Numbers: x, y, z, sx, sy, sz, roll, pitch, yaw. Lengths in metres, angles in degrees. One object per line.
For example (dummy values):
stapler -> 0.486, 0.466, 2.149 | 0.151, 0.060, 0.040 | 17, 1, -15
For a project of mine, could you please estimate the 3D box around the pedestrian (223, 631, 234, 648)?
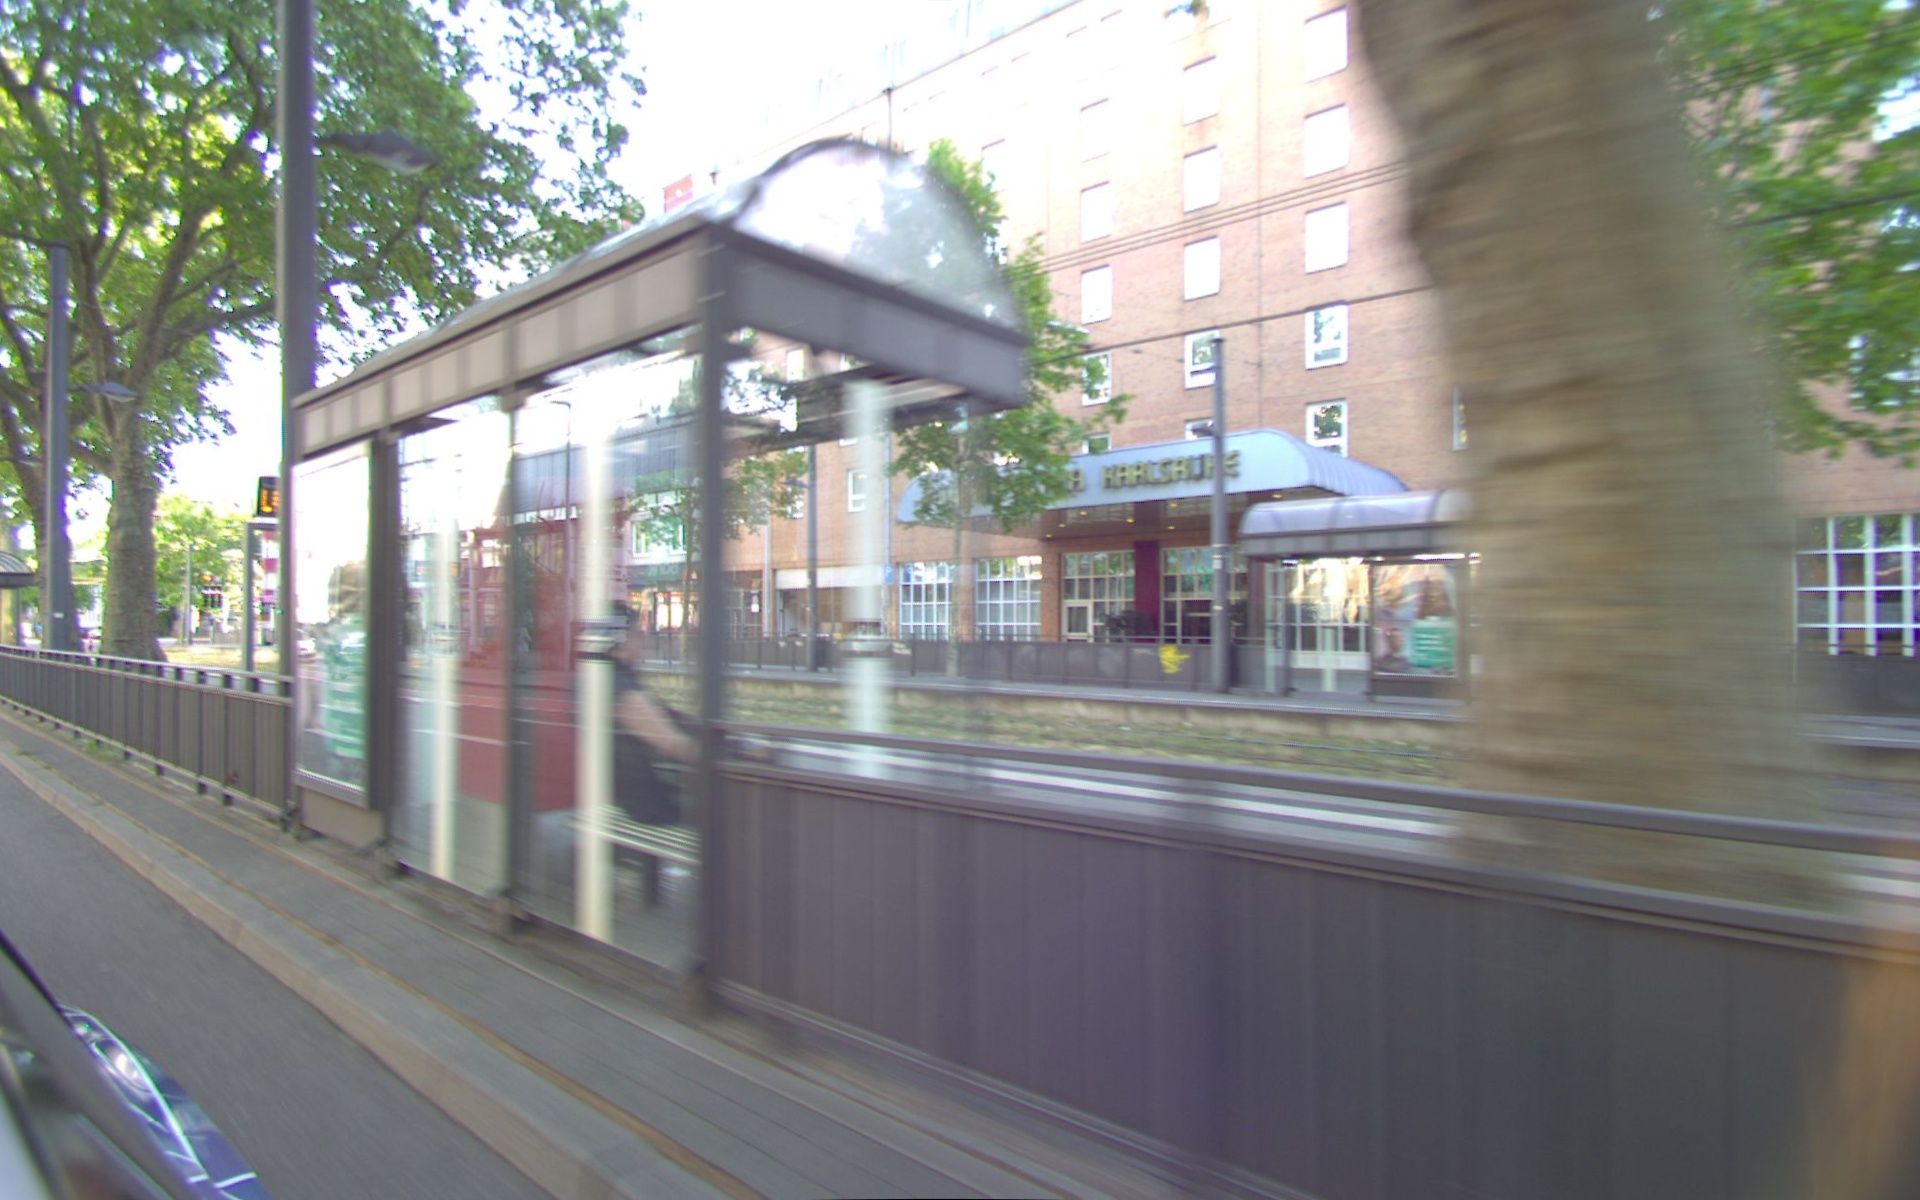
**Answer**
pedestrian -> -72.410, 3.904, 100.194 | 0.594, 1.717, 0.670 | -1, 0, -10

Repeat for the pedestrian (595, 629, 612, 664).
pedestrian -> -18.304, 2.388, 51.927 | 0.784, 1.784, 0.496 | -1, 0, 41

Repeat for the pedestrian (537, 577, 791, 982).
pedestrian -> -1.159, 0.618, 3.982 | 0.640, 1.398, 0.726 | -1, 0, 43
